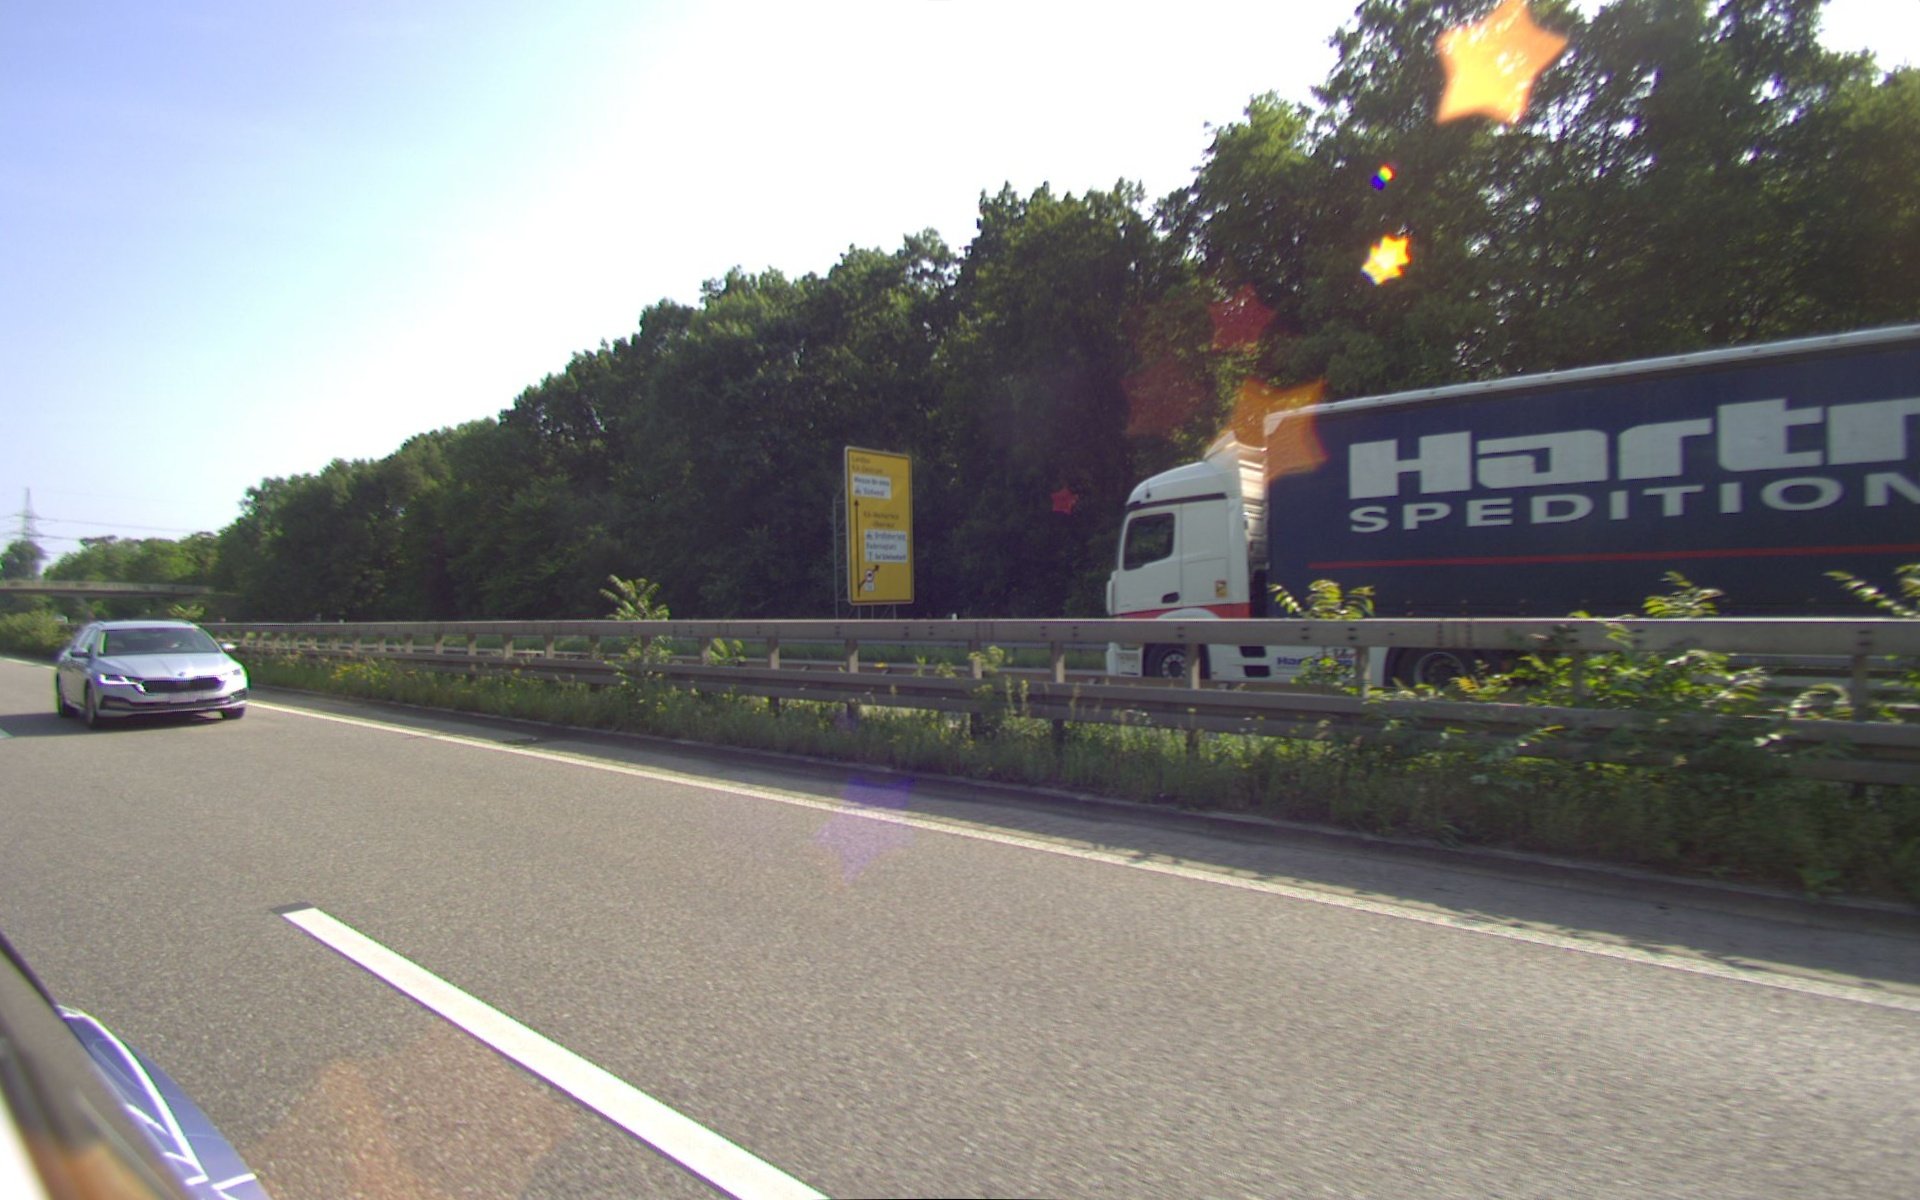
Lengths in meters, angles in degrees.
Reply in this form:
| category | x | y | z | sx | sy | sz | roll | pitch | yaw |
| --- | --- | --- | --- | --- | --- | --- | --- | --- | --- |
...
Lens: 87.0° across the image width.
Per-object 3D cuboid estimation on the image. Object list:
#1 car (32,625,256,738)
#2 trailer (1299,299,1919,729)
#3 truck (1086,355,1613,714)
| category | x | y | z | sx | sy | sz | roll | pitch | yaw |
| --- | --- | --- | --- | --- | --- | --- | --- | --- | --- |
| car | -12.597 | 1.125 | 15.473 | 5.275 | 1.449 | 1.773 | -2 | -2 | 41 |
| trailer | 10.939 | -0.823 | 10.028 | 14.306 | 4.101 | 2.936 | -2 | -2 | 41 |
| truck | 5.409 | -0.653 | 14.782 | 6.560 | 4.101 | 2.936 | -2 | -2 | 40 |
